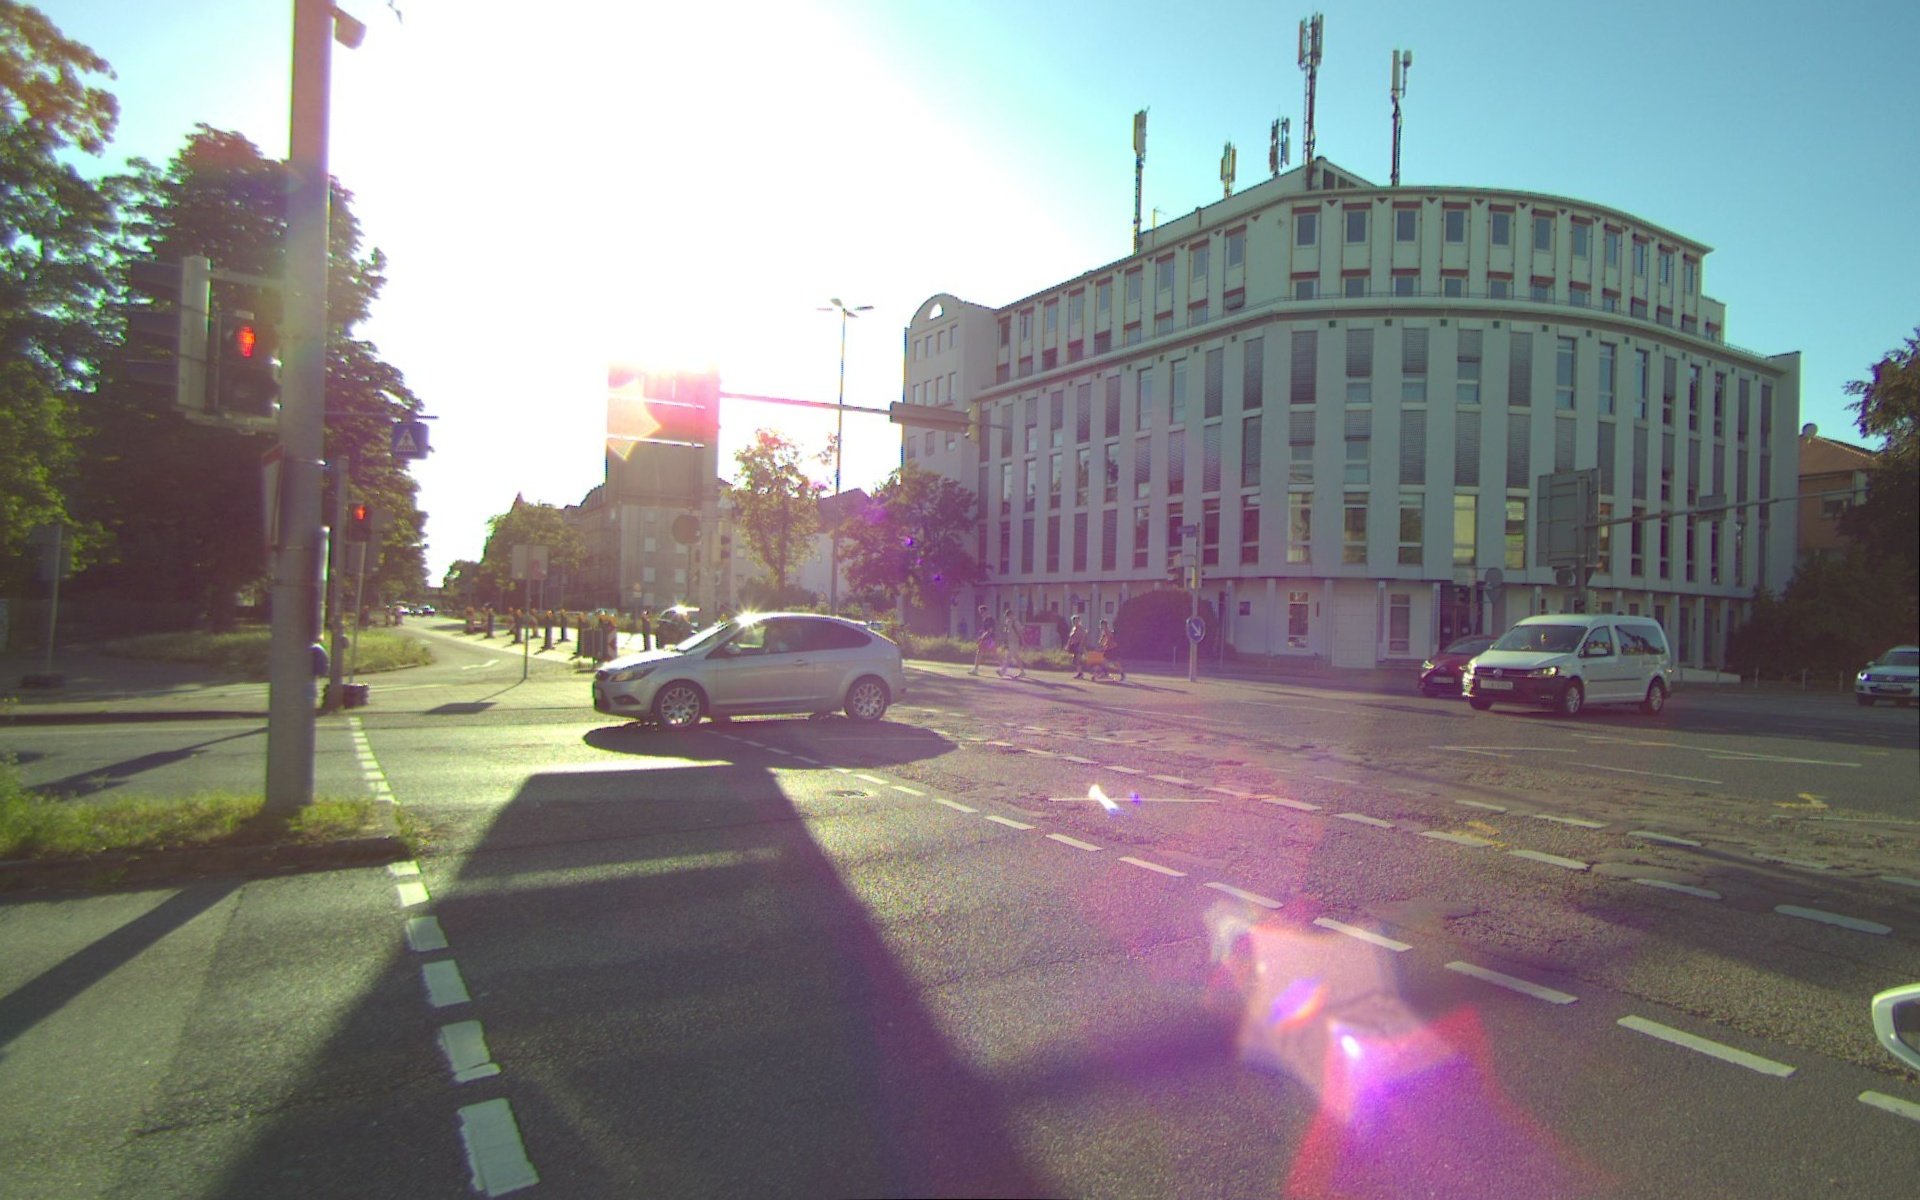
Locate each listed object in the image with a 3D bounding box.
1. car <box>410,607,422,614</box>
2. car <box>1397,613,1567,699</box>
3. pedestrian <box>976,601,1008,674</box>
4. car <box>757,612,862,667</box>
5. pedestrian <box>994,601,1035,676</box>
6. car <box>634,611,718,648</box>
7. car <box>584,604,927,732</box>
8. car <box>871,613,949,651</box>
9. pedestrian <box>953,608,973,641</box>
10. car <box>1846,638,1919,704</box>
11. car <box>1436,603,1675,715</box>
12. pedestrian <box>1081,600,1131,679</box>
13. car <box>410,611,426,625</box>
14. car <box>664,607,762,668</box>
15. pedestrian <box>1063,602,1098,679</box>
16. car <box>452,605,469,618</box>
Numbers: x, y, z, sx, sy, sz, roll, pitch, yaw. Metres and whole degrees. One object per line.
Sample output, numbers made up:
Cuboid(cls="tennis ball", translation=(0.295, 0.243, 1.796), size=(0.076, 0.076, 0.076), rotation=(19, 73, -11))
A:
Cuboid(cls="car", translation=(-115.391, 2.226, 213.147), size=(1.821, 1.572, 3.978), rotation=(2, -1, -23))
Cuboid(cls="car", translation=(12.118, 1.265, 23.274), size=(4.006, 1.835, 1.738), rotation=(2, -1, -33))
Cuboid(cls="pedestrian", translation=(0.840, 0.980, 26.513), size=(0.763, 1.883, 0.662), rotation=(1, -1, -1))
Cuboid(cls="car", translation=(-4.766, 1.229, 31.406), size=(1.843, 1.550, 3.788), rotation=(4, -4, -32))
Cuboid(cls="pedestrian", translation=(1.381, 0.981, 25.539), size=(0.805, 1.866, 0.758), rotation=(2, -1, -16))
Cuboid(cls="car", translation=(-11.441, 1.153, 40.349), size=(1.813, 1.372, 3.955), rotation=(2, -1, -39))
Cuboid(cls="car", translation=(-2.729, 0.878, 13.747), size=(4.297, 1.514, 1.649), rotation=(2, -1, -31))
Cuboid(cls="car", translation=(-2.760, 1.781, 55.480), size=(3.796, 1.756, 1.776), rotation=(1, -9, 19))
Cuboid(cls="pedestrian", translation=(0.180, 1.346, 56.202), size=(0.901, 1.816, 0.671), rotation=(1, -1, 43))
Cuboid(cls="car", translation=(26.079, 1.906, 27.386), size=(4.006, 1.676, 1.870), rotation=(2, -1, -33))
Cuboid(cls="car", translation=(11.041, 1.040, 18.532), size=(4.666, 1.835, 1.904), rotation=(2, -1, -33))
Cuboid(cls="pedestrian", translation=(3.589, 0.974, 24.742), size=(1.105, 1.893, 0.628), rotation=(1, -1, -1))
Cuboid(cls="car", translation=(-76.496, 2.535, 141.657), size=(1.684, 1.862, 3.964), rotation=(2, -1, -33))
Cuboid(cls="car", translation=(-7.323, 1.063, 29.434), size=(1.973, 1.650, 4.333), rotation=(2, -1, -25))
Cuboid(cls="pedestrian", translation=(3.055, 1.022, 25.474), size=(0.763, 1.893, 0.662), rotation=(1, -1, -1))
Cuboid(cls="car", translation=(-79.736, 1.898, 160.303), size=(1.979, 1.910, 3.964), rotation=(4, -4, -33))
